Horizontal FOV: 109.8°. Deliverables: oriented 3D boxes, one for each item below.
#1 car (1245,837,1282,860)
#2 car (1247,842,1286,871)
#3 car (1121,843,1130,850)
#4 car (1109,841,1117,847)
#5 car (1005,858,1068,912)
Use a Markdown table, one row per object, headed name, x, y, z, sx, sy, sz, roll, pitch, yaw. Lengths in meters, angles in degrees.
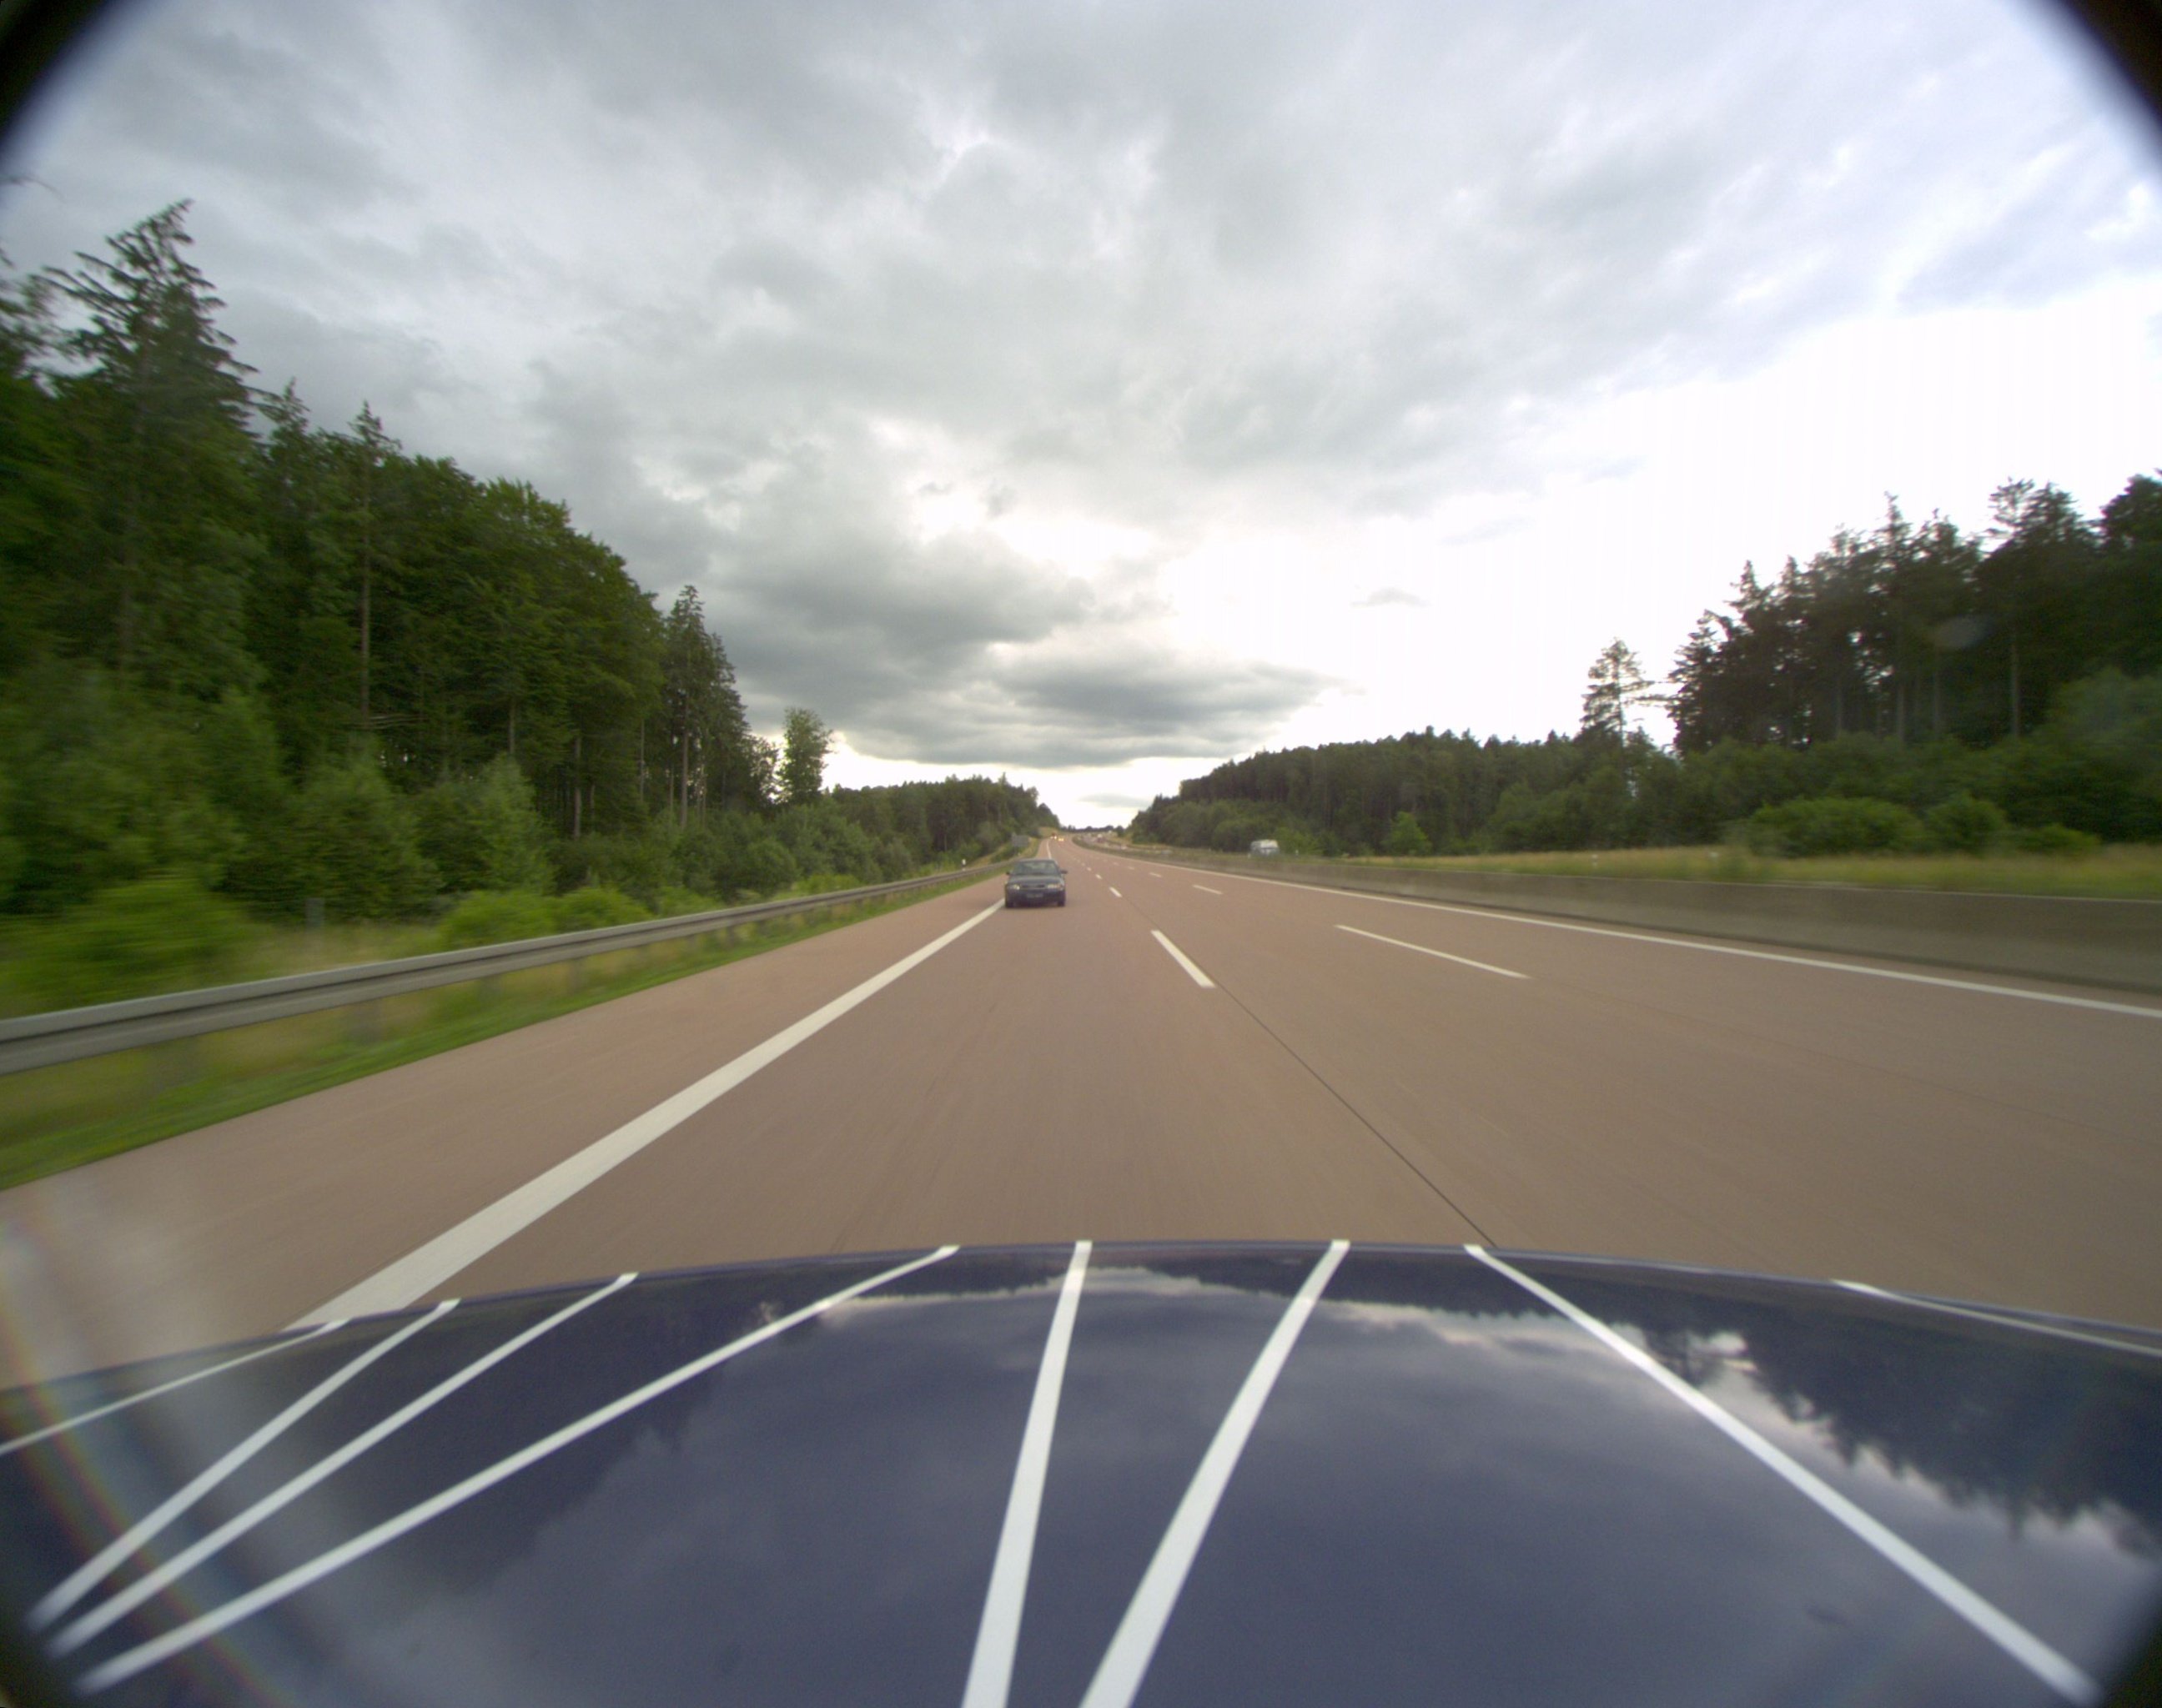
| name | x | y | z | sx | sy | sz | roll | pitch | yaw |
| --- | --- | --- | --- | --- | --- | --- | --- | --- | --- |
| car | 21.667 | -0.667 | 90.409 | 2.466 | 2.595 | 7.327 | -2 | 1 | -1 |
| car | 17.905 | 0.223 | 73.511 | 2.039 | 2.595 | 6.353 | -2 | 1 | -1 |
| car | 12.793 | -2.081 | 216.654 | 2.039 | 1.872 | 4.722 | -2 | 1 | -2 |
| car | 10.950 | -3.492 | 261.203 | 2.039 | 1.872 | 4.722 | -2 | 1 | -3 |
| car | -1.276 | 0.871 | 23.178 | 1.676 | 1.395 | 4.232 | -1 | 1 | 0 |
